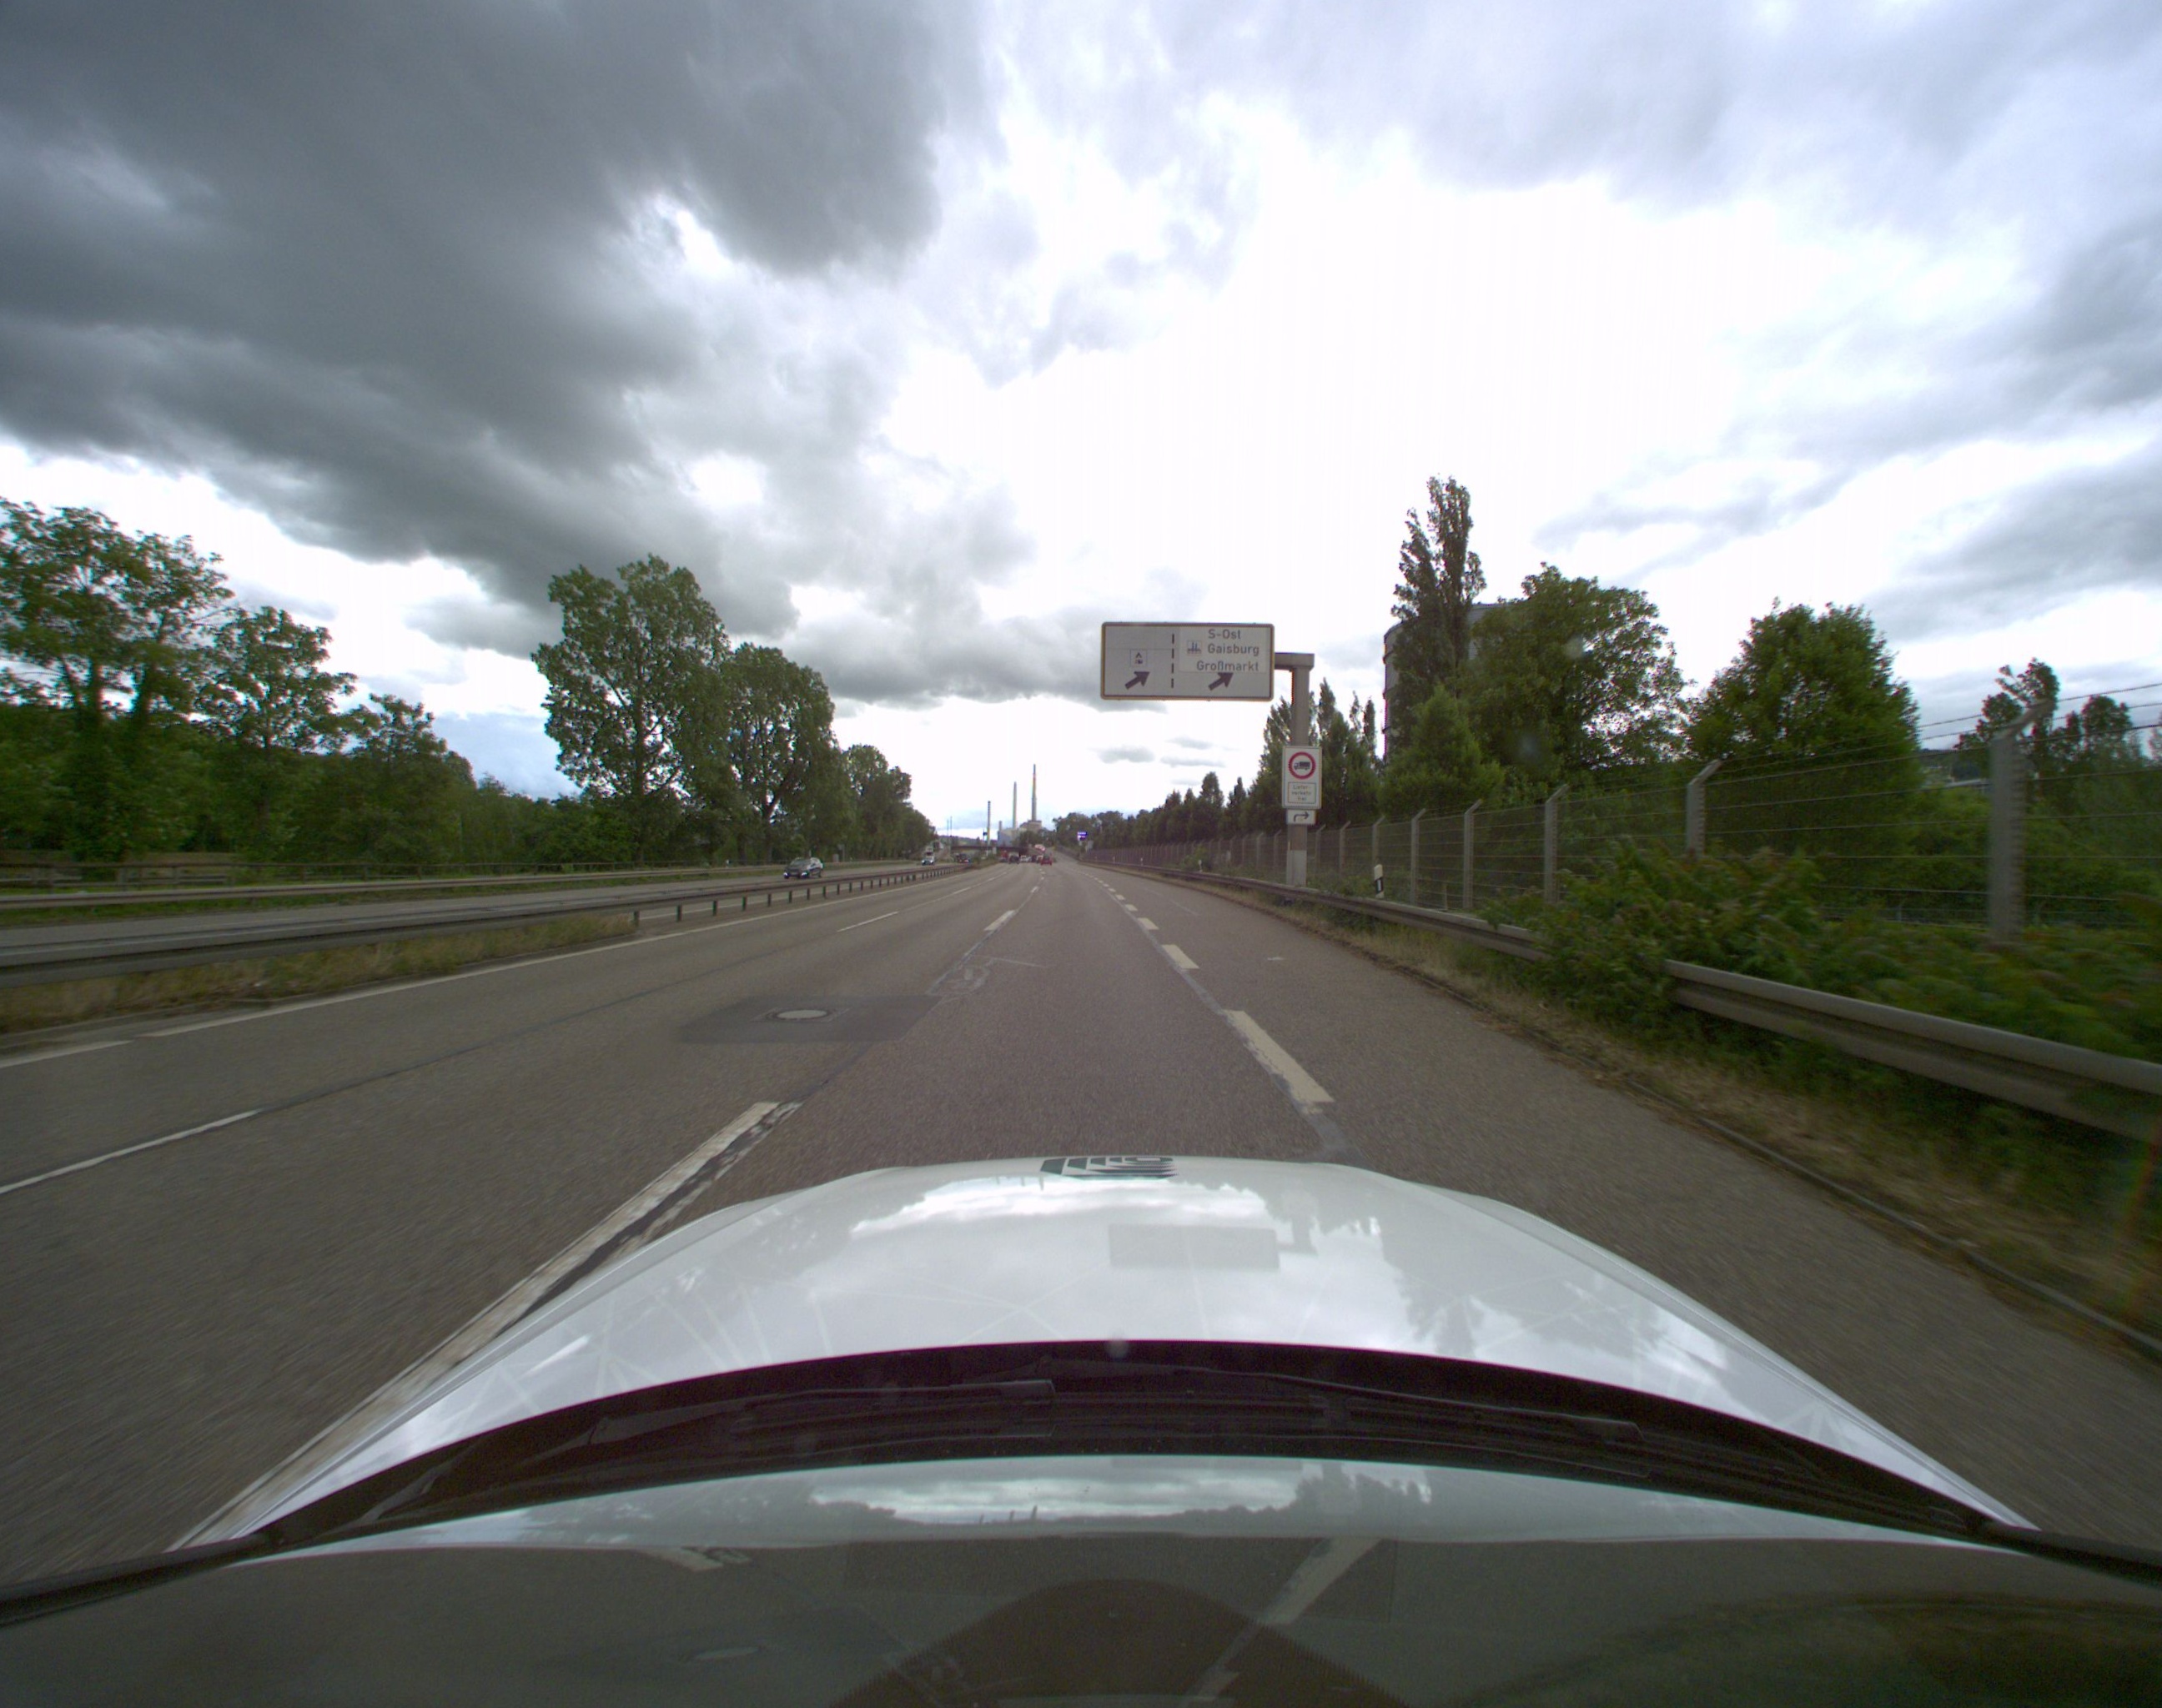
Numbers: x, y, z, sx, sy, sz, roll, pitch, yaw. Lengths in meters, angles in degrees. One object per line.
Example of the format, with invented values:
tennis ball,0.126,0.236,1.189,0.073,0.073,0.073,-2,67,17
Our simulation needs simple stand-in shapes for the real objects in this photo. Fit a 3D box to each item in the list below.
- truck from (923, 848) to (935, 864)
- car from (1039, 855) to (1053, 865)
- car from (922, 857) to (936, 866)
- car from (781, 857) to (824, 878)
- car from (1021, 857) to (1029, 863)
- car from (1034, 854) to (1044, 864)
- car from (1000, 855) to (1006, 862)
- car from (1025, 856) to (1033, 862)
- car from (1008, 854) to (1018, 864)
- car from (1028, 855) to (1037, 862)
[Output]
truck,-42.842,0.479,229.900,2.888,4.165,14.611,2,0,-10
car,-5.434,0.922,126.058,1.971,1.423,4.893,0,0,-4
car,-24.797,1.172,133.002,1.695,1.413,4.629,-1,0,-5
car,-20.204,0.969,59.274,1.693,1.413,4.634,-1,0,-2
car,-12.199,1.273,176.669,1.695,1.389,4.390,0,0,-5
car,-7.896,0.926,152.912,1.695,1.742,4.385,0,0,-5
car,-22.595,1.306,235.702,1.697,1.742,4.380,-1,0,-9
car,-13.796,1.313,215.425,1.697,1.555,4.385,0,0,-8
car,-12.476,0.947,149.127,1.694,1.742,3.994,0,0,-4
car,-11.358,1.002,191.559,1.697,1.555,4.385,0,0,-8
